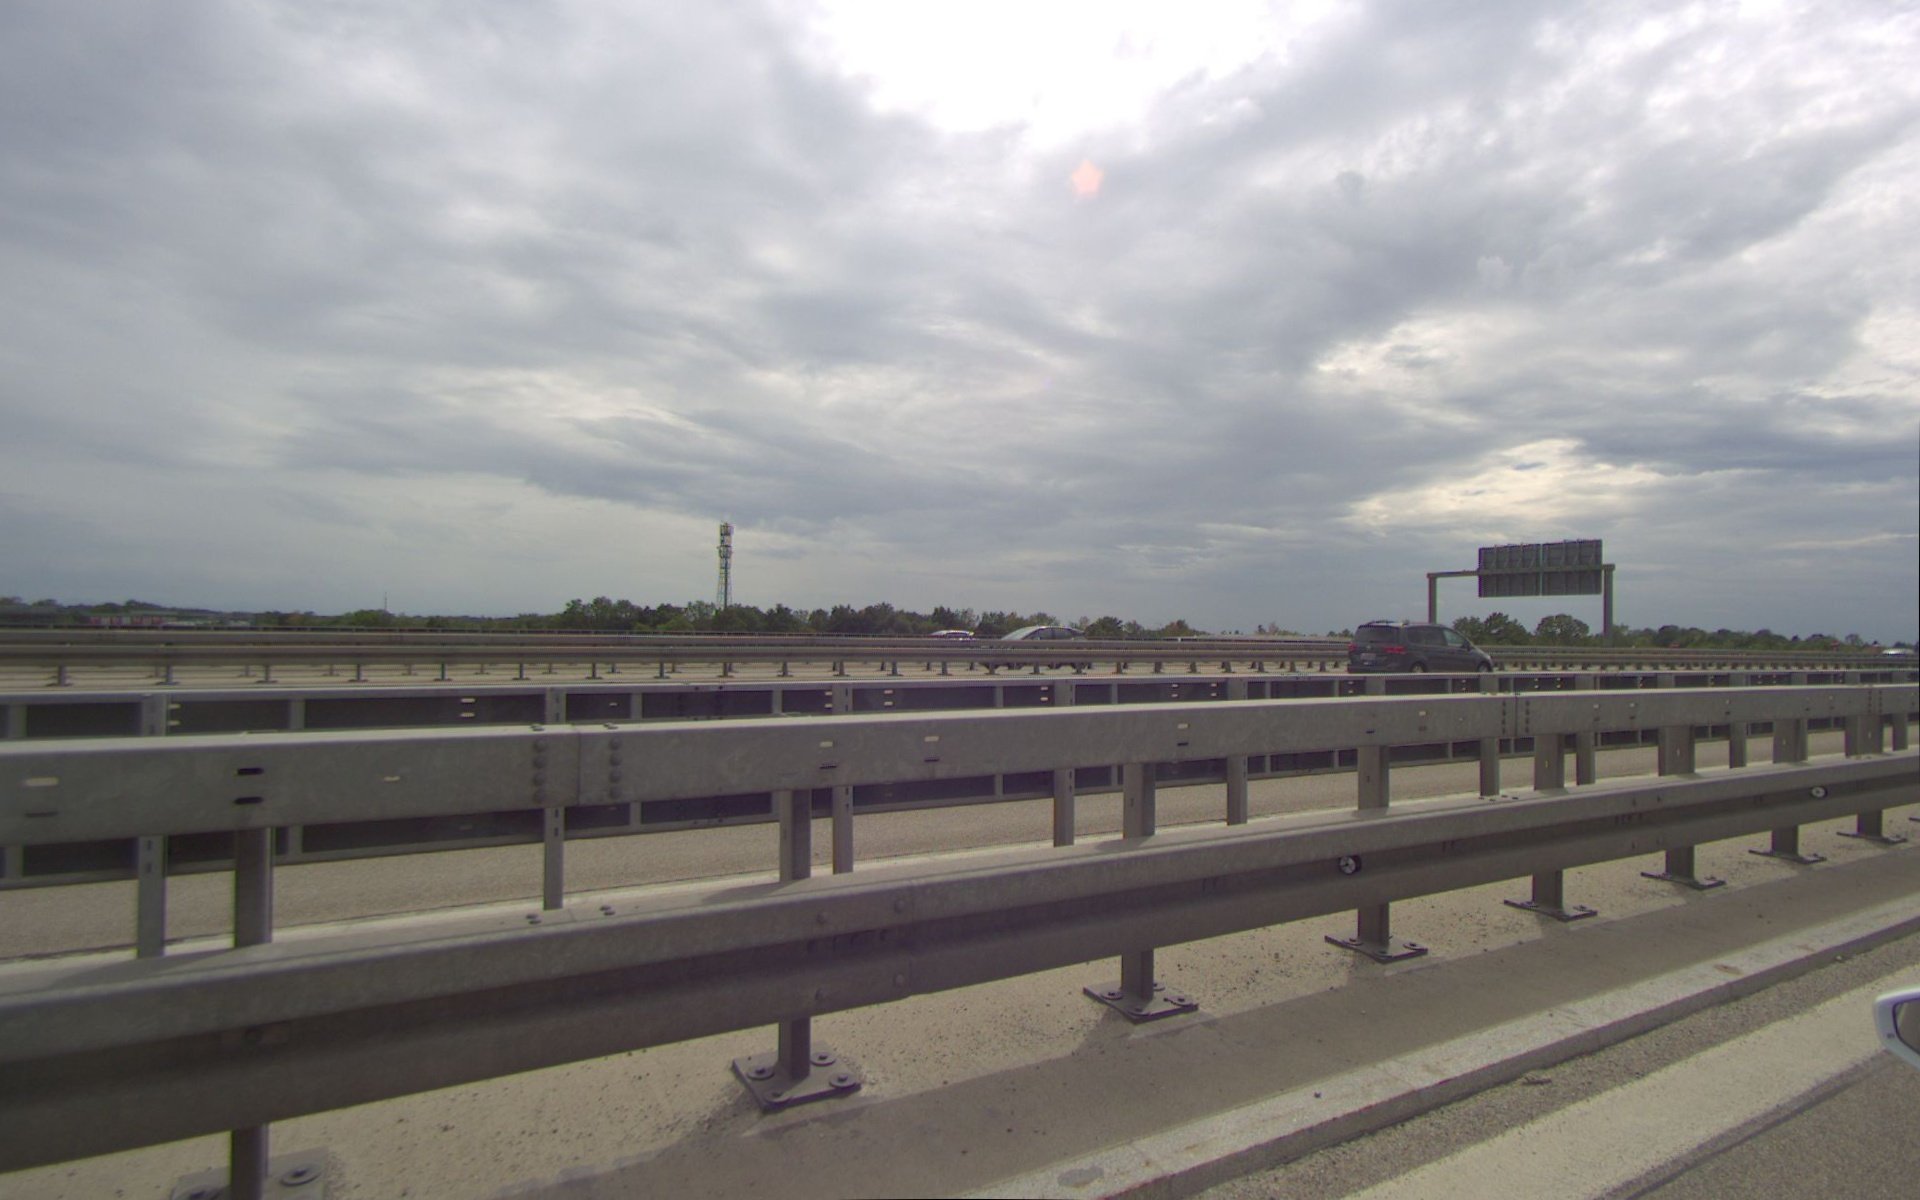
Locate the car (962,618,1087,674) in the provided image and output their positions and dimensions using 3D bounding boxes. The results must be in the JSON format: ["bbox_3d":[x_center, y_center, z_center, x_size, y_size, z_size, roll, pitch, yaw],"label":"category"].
[{"bbox_3d":[2.282,1.587,35.359,3.953,1.812,1.984,2,0,-30],"label":"car"}]

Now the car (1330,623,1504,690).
[{"bbox_3d":[11.998,1.450,26.276,4.562,1.567,1.871,2,0,-31],"label":"car"}]

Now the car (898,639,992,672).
[{"bbox_3d":[-0.738,2.811,50.960,4.339,1.572,1.985,2,-1,-29],"label":"car"}]
